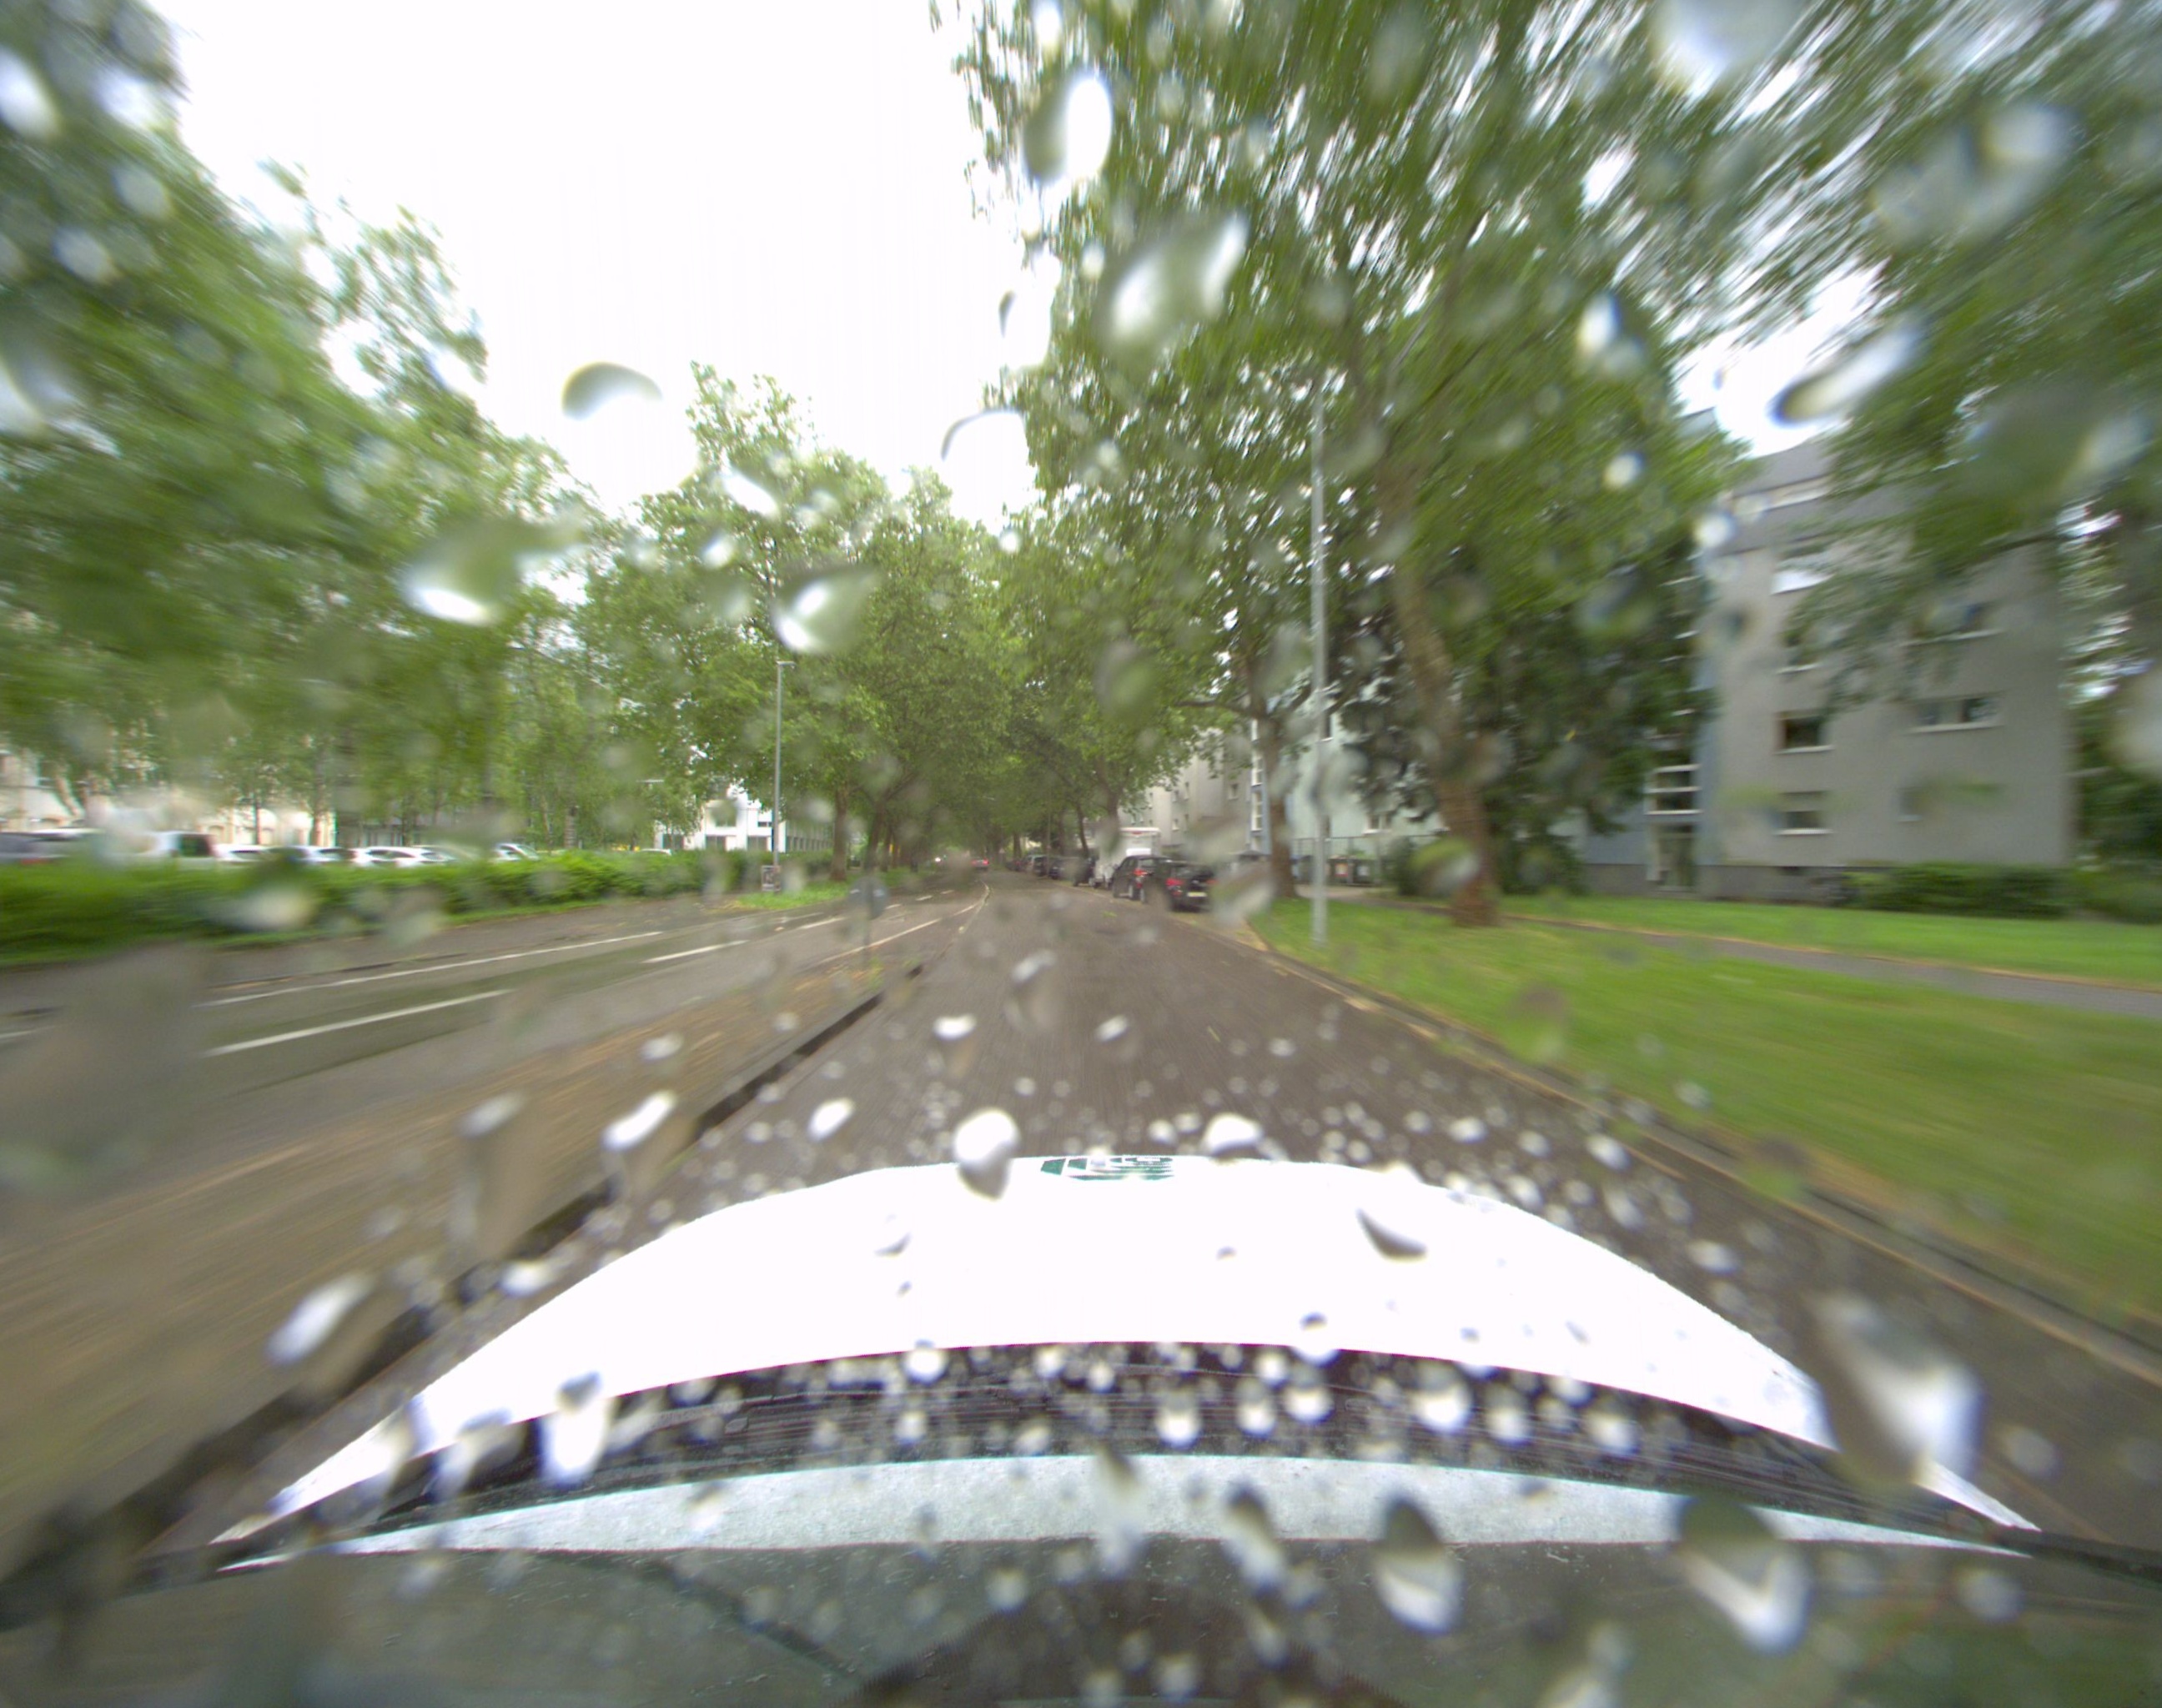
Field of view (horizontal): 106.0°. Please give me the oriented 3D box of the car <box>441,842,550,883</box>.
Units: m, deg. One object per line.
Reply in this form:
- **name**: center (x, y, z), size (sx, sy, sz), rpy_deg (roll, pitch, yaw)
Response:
- **car**: center (-29.736, 0.433, 41.488), size (3.985, 2.013, 1.994), rpy_deg (0, 0, -9)

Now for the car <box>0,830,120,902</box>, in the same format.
- **car**: center (-25.826, 0.241, 19.133), size (3.986, 1.638, 1.703), rpy_deg (1, 0, -9)

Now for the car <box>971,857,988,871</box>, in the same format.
- **car**: center (-11.093, 1.081, 88.800), size (1.706, 1.411, 3.632), rpy_deg (-1, 0, -9)

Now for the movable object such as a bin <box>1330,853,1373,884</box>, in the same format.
- **movable object such as a bin**: center (12.883, 0.670, 38.810), size (1.324, 1.432, 1.358), rpy_deg (2, -1, -27)

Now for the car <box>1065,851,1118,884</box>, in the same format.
- **car**: center (0.547, 0.697, 43.289), size (1.695, 1.653, 2.922), rpy_deg (2, 0, -26)

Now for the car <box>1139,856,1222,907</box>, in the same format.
- **car**: center (2.928, 0.786, 24.739), size (1.547, 1.390, 4.139), rpy_deg (1, 0, -7)

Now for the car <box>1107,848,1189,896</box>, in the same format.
- **car**: center (2.391, 0.677, 30.060), size (1.916, 1.620, 4.437), rpy_deg (1, -2, -10)

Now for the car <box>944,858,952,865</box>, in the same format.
- **car**: center (-28.697, 1.630, 175.619), size (1.678, 1.388, 4.535), rpy_deg (-1, 0, -9)

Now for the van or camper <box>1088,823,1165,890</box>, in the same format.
- **van or camper**: center (1.955, 0.126, 37.931), size (2.317, 2.807, 6.845), rpy_deg (1, -1, -7)

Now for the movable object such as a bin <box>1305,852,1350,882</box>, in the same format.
- **movable object such as a bin**: center (12.178, 0.655, 40.287), size (1.219, 1.432, 1.846), rpy_deg (2, 0, -27)

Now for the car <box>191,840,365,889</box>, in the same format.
- **car**: center (-28.254, 0.368, 28.798), size (3.986, 1.599, 1.849), rpy_deg (1, 0, -9)

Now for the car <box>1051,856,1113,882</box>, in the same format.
- **car**: center (0.096, 0.962, 53.233), size (3.787, 1.601, 1.782), rpy_deg (2, 0, -40)

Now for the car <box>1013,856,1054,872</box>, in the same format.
- **car**: center (-4.882, 0.998, 83.815), size (4.039, 1.441, 1.678), rpy_deg (-2, 0, -13)

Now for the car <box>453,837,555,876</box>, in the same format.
- **car**: center (-30.924, 0.136, 43.782), size (3.985, 2.013, 1.994), rpy_deg (0, 0, -9)

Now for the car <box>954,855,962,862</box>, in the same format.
- **car**: center (-27.137, 1.053, 180.237), size (1.706, 1.411, 3.632), rpy_deg (-1, 0, -9)

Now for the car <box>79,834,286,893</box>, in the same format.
- **car**: center (-26.695, 0.290, 24.348), size (3.809, 1.599, 1.711), rpy_deg (1, 0, -13)

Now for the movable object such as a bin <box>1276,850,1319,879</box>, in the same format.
- **movable object such as a bin**: center (11.110, 0.551, 41.828), size (1.219, 1.432, 1.846), rpy_deg (2, 0, -27)

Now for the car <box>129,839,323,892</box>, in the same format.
- **car**: center (-27.850, 0.380, 26.664), size (3.986, 1.599, 1.849), rpy_deg (1, 0, -9)

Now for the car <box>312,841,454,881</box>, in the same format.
- **car**: center (-28.707, 0.285, 33.616), size (3.983, 1.551, 1.881), rpy_deg (1, -1, -7)

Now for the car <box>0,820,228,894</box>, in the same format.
- **car**: center (-26.117, 0.097, 21.884), size (3.991, 1.833, 1.846), rpy_deg (1, 0, -13)

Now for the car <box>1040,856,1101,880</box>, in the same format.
- **car**: center (-0.706, 0.960, 56.780), size (4.020, 1.601, 1.782), rpy_deg (2, 0, -40)

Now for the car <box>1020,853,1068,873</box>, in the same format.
- **car**: center (-3.540, 0.830, 76.996), size (4.337, 1.762, 1.813), rpy_deg (1, 0, -10)

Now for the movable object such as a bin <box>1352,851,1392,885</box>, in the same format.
- **movable object such as a bin**: center (13.345, 0.610, 37.380), size (1.165, 1.473, 1.212), rpy_deg (-2, 1, -28)

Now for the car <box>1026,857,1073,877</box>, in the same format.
- **car**: center (-2.855, 1.193, 73.515), size (3.986, 1.727, 1.795), rpy_deg (1, 0, -9)

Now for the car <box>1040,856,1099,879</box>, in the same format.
- **car**: center (-0.867, 1.020, 60.962), size (4.018, 1.601, 2.013), rpy_deg (2, 0, -37)

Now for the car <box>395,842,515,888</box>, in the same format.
- **car**: center (-29.437, 0.497, 38.419), size (3.985, 2.133, 1.994), rpy_deg (0, 0, -9)

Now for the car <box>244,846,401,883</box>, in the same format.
- **car**: center (-28.787, 0.387, 31.016), size (3.983, 1.374, 1.881), rpy_deg (0, -1, -7)

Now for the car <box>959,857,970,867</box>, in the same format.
- **car**: center (-18.578, 1.273, 129.586), size (1.706, 1.411, 3.632), rpy_deg (-1, 0, -9)

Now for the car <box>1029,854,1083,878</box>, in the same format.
- **car**: center (-1.953, 0.939, 63.847), size (3.886, 1.697, 1.817), rpy_deg (-2, 2, -37)
